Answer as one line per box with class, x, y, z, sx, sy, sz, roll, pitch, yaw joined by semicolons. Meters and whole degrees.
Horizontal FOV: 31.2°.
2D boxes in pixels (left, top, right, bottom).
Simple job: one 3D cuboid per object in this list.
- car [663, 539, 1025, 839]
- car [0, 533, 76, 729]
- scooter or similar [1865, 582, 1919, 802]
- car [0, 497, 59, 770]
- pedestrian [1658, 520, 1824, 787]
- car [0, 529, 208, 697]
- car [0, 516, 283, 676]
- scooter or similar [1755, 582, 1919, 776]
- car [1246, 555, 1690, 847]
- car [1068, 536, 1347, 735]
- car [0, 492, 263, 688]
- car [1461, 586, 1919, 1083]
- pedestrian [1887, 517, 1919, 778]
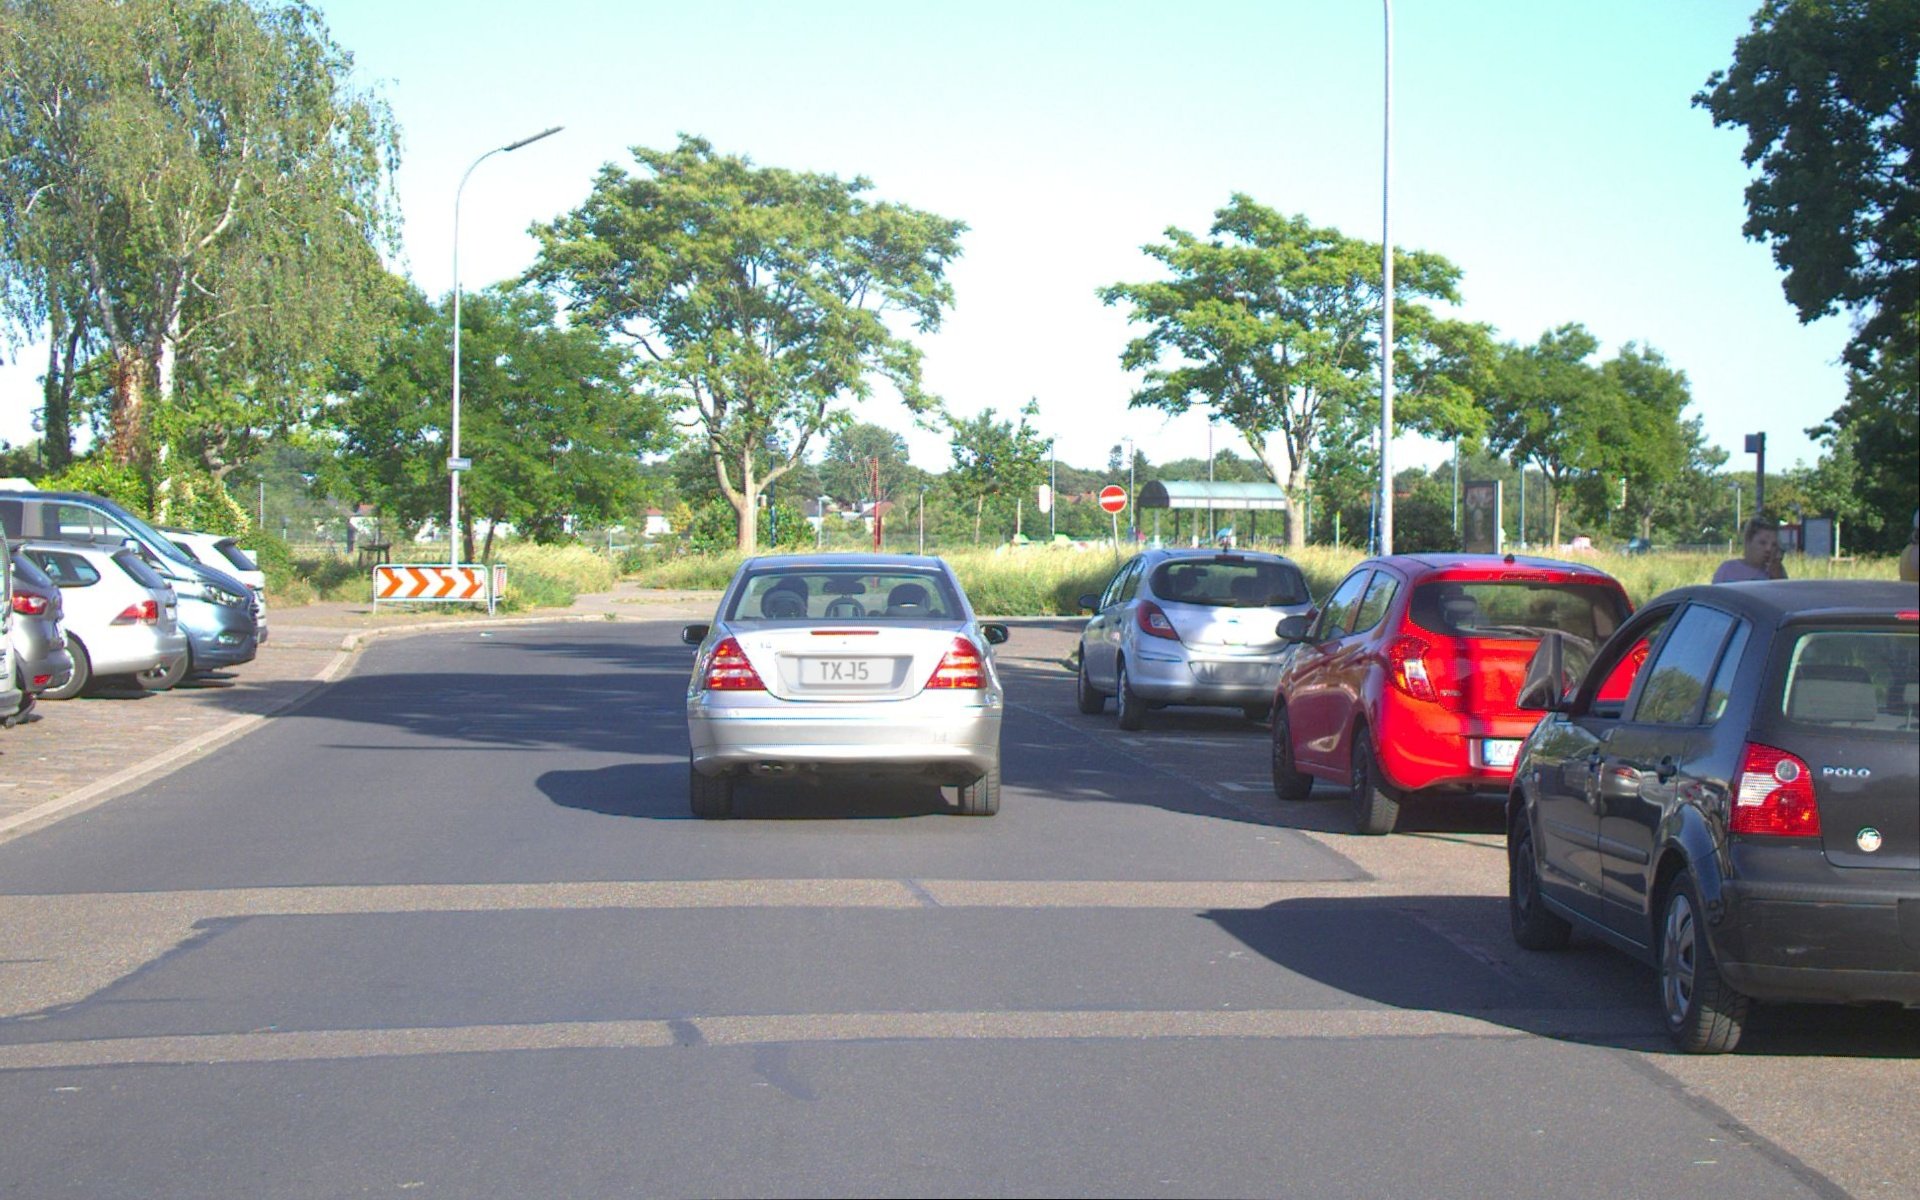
car;-0.649;0.417;19.806;1.816;1.458;4.361;1;1;-1
car;-9.134;0.198;27.501;3.813;1.527;1.790;1;1;-8
scooter or similar;5.641;0.509;19.696;0.623;1.223;0.905;0;0;-3
car;-8.274;0.151;23.190;3.976;1.774;1.926;1;1;-6
pedestrian;4.710;0.318;20.767;0.787;1.559;0.570;2;0;-3
car;-9.358;0.067;32.474;4.136;1.487;1.926;2;0;-5
car;-9.400;-0.067;37.726;3.611;1.601;1.733;2;0;-3
scooter or similar;5.786;0.499;22.369;0.399;1.223;1.254;-1;1;-34
car;2.717;0.490;19.182;1.575;1.441;3.789;1;1;-5
car;2.025;0.260;29.107;1.731;1.537;3.789;1;1;-5
car;-9.656;-0.131;34.978;4.870;1.909;2.000;1;1;-8
car;2.905;0.673;11.797;1.647;1.398;3.882;1;0;-2
pedestrian;5.924;0.278;20.835;0.481;1.559;0.597;-1;0;7
